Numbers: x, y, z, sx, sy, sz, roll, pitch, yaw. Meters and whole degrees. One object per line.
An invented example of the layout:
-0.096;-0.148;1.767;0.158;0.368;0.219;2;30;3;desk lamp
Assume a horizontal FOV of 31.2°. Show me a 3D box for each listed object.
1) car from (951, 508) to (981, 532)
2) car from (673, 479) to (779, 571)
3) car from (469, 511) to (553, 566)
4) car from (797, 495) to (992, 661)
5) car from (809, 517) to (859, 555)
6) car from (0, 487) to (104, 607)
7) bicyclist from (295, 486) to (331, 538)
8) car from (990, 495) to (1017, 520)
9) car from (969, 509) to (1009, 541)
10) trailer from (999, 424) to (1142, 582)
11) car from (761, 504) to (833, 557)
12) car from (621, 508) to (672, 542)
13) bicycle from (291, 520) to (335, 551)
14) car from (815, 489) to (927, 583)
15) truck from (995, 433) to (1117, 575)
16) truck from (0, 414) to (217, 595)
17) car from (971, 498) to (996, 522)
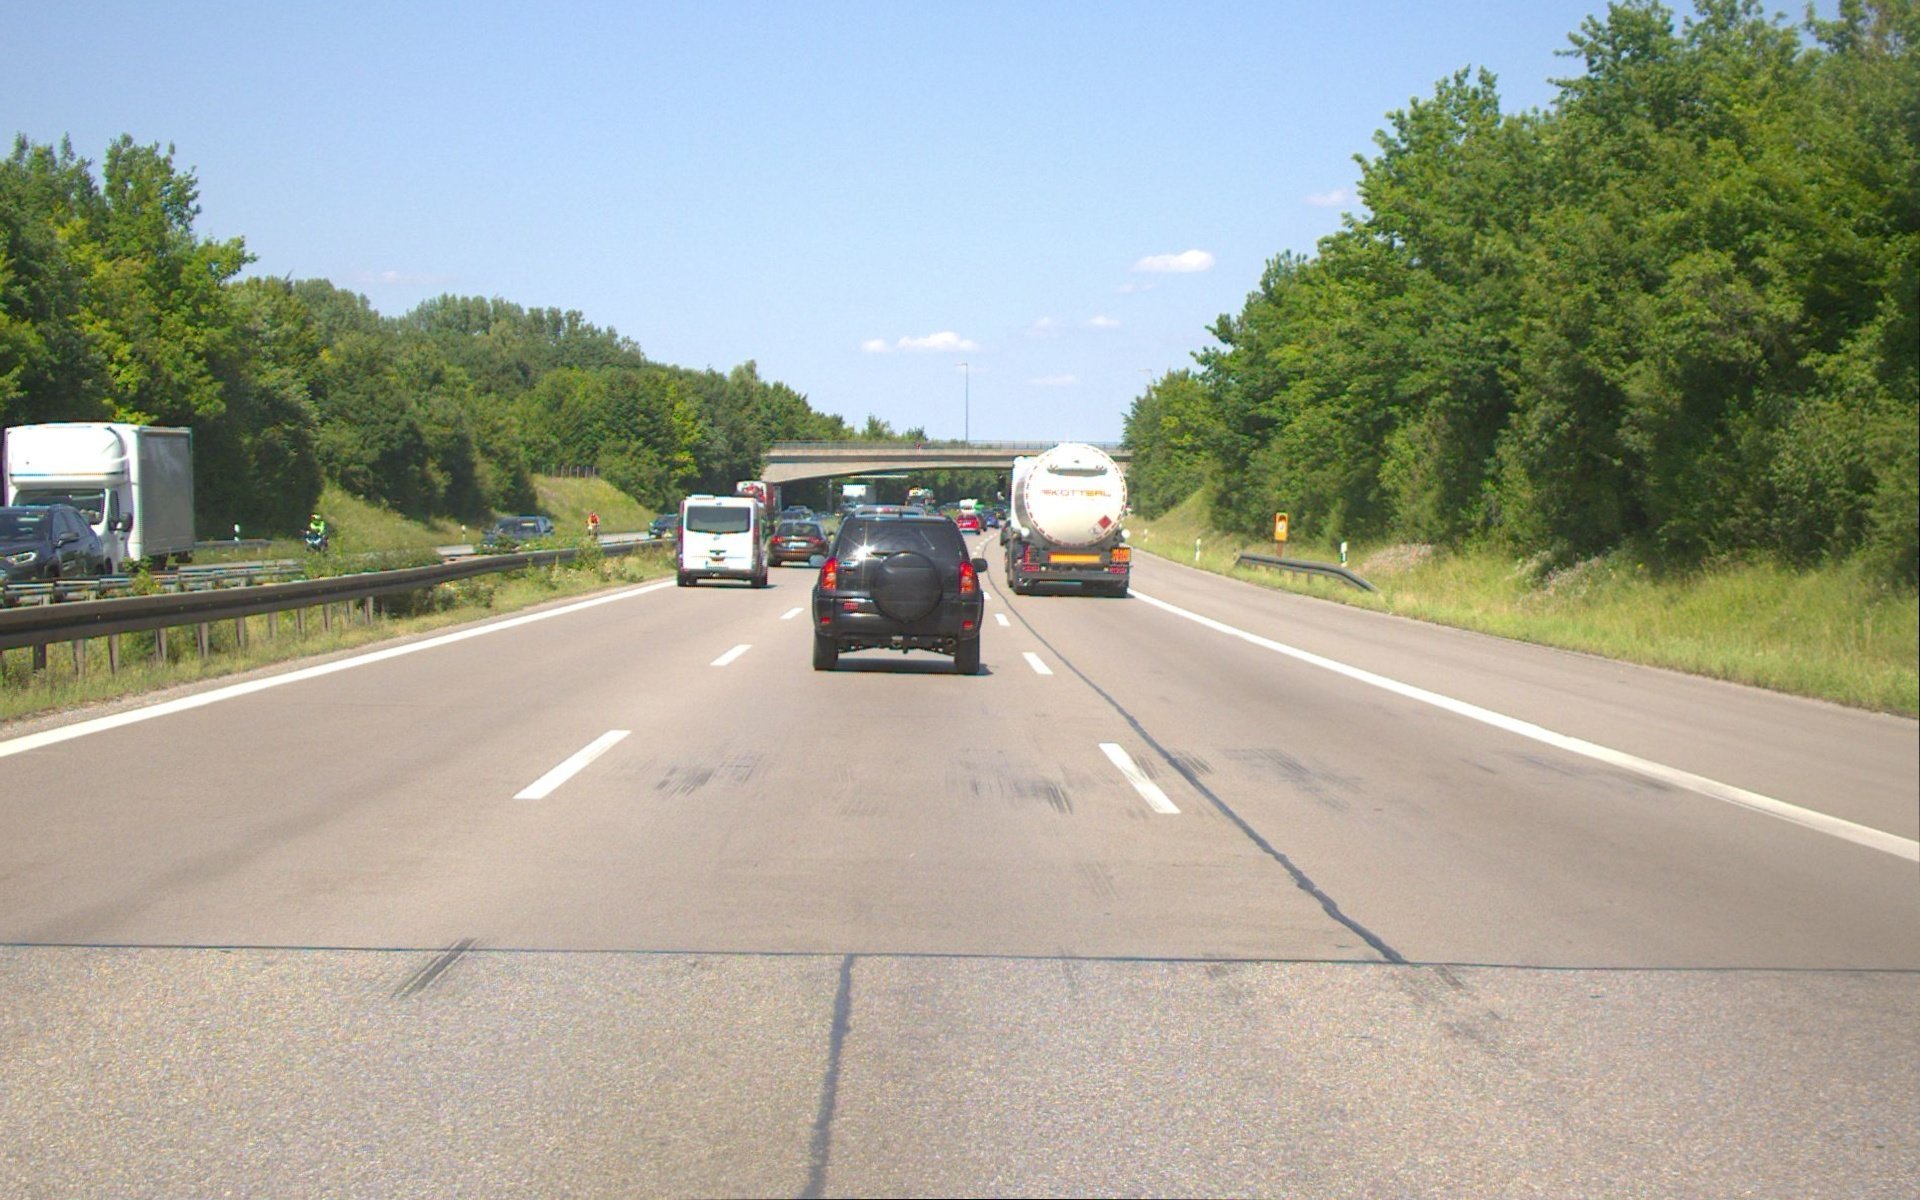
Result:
0.386;-5.328;229.605;1.993;1.568;4.000;0;1;-1;car
-5.215;-1.693;77.296;1.993;2.007;4.950;0;1;1;car
-13.497;-1.874;103.516;1.993;1.593;4.593;1;1;-1;car
-0.651;-0.273;36.897;1.906;1.659;4.000;1;1;1;car
-5.269;-2.714;144.436;1.993;1.568;4.000;0;1;-1;car
-13.382;-0.783;48.218;1.778;1.612;4.060;0;2;-1;car
-20.131;-2.740;107.045;0.880;1.571;1.287;1;0;-1;bicyclist
3.065;-6.497;241.889;1.812;1.740;4.000;0;2;1;car
1.475;-3.829;175.466;1.993;1.568;4.000;0;1;-1;car
2.478;-2.278;80.823;2.648;3.378;11.153;2;2;-1;trailer
-4.917;-2.094;104.116;1.993;1.547;4.000;1;1;-1;car
-14.312;-3.416;157.036;1.993;1.515;4.428;0;2;-1;car
-20.147;-2.000;107.101;0.901;0.913;2.733;1;1;-1;bicycle
-1.634;-1.212;64.379;1.993;1.700;4.336;0;1;0;car
2.365;-2.417;86.468;2.638;3.363;6.488;2;2;-1;truck
-16.743;-1.797;67.263;2.779;3.293;8.059;1;1;-1;truck
1.778;-6.641;254.486;1.812;1.740;4.000;0;2;1;car
